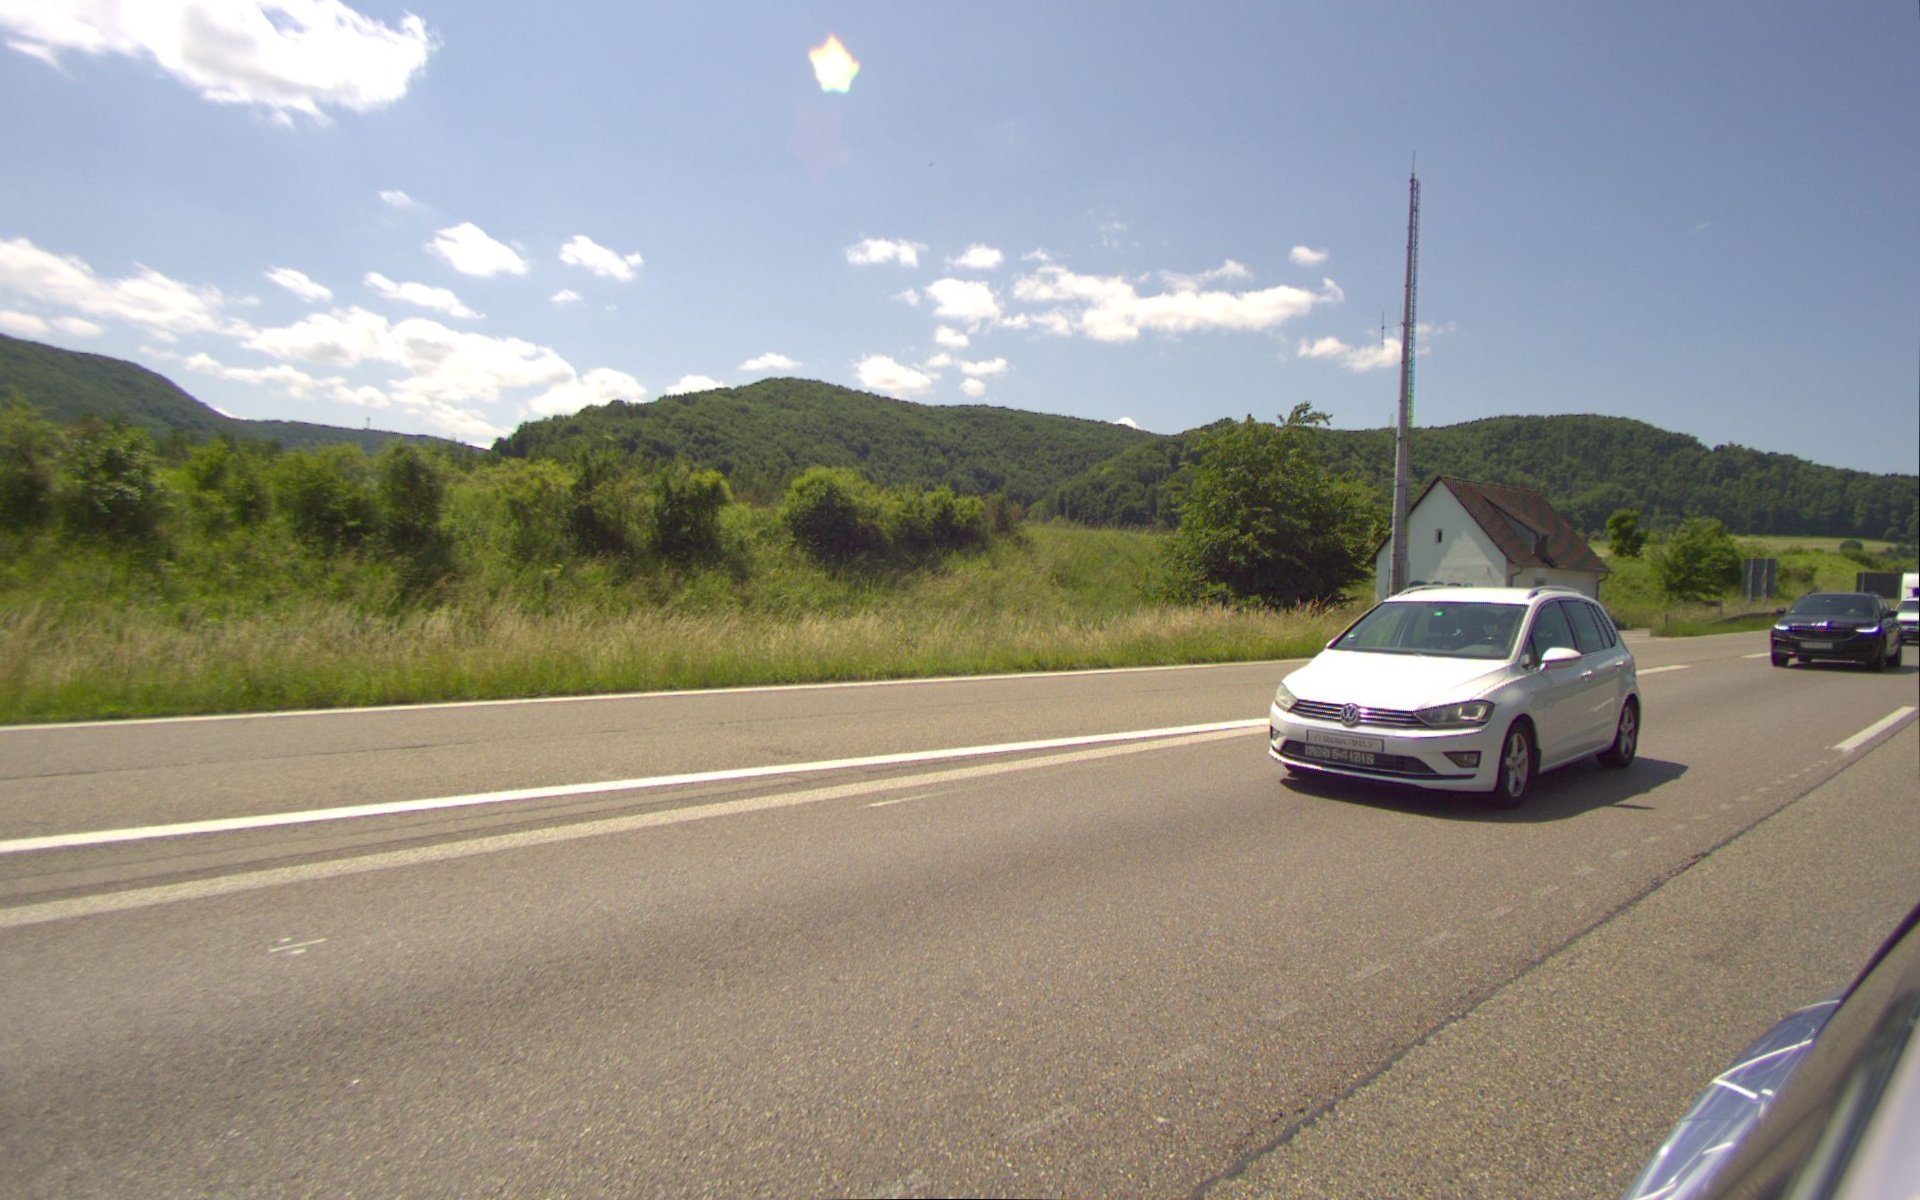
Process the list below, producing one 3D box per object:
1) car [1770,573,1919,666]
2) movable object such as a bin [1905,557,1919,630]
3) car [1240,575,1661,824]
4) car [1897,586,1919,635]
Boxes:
[{"bbox_3d":[19.353,0.372,22.002,4.097,1.794,1.893,0,2,-40],"label":"car"},{"bbox_3d":[37.931,-0.226,38.226,6.590,2.664,2.480,0,1,-40],"label":"movable object such as a bin"},{"bbox_3d":[4.209,0.609,8.400,3.985,1.560,1.775,0,1,-42],"label":"car"},{"bbox_3d":[32.888,0.354,33.839,3.929,1.603,1.820,0,1,-40],"label":"car"}]
